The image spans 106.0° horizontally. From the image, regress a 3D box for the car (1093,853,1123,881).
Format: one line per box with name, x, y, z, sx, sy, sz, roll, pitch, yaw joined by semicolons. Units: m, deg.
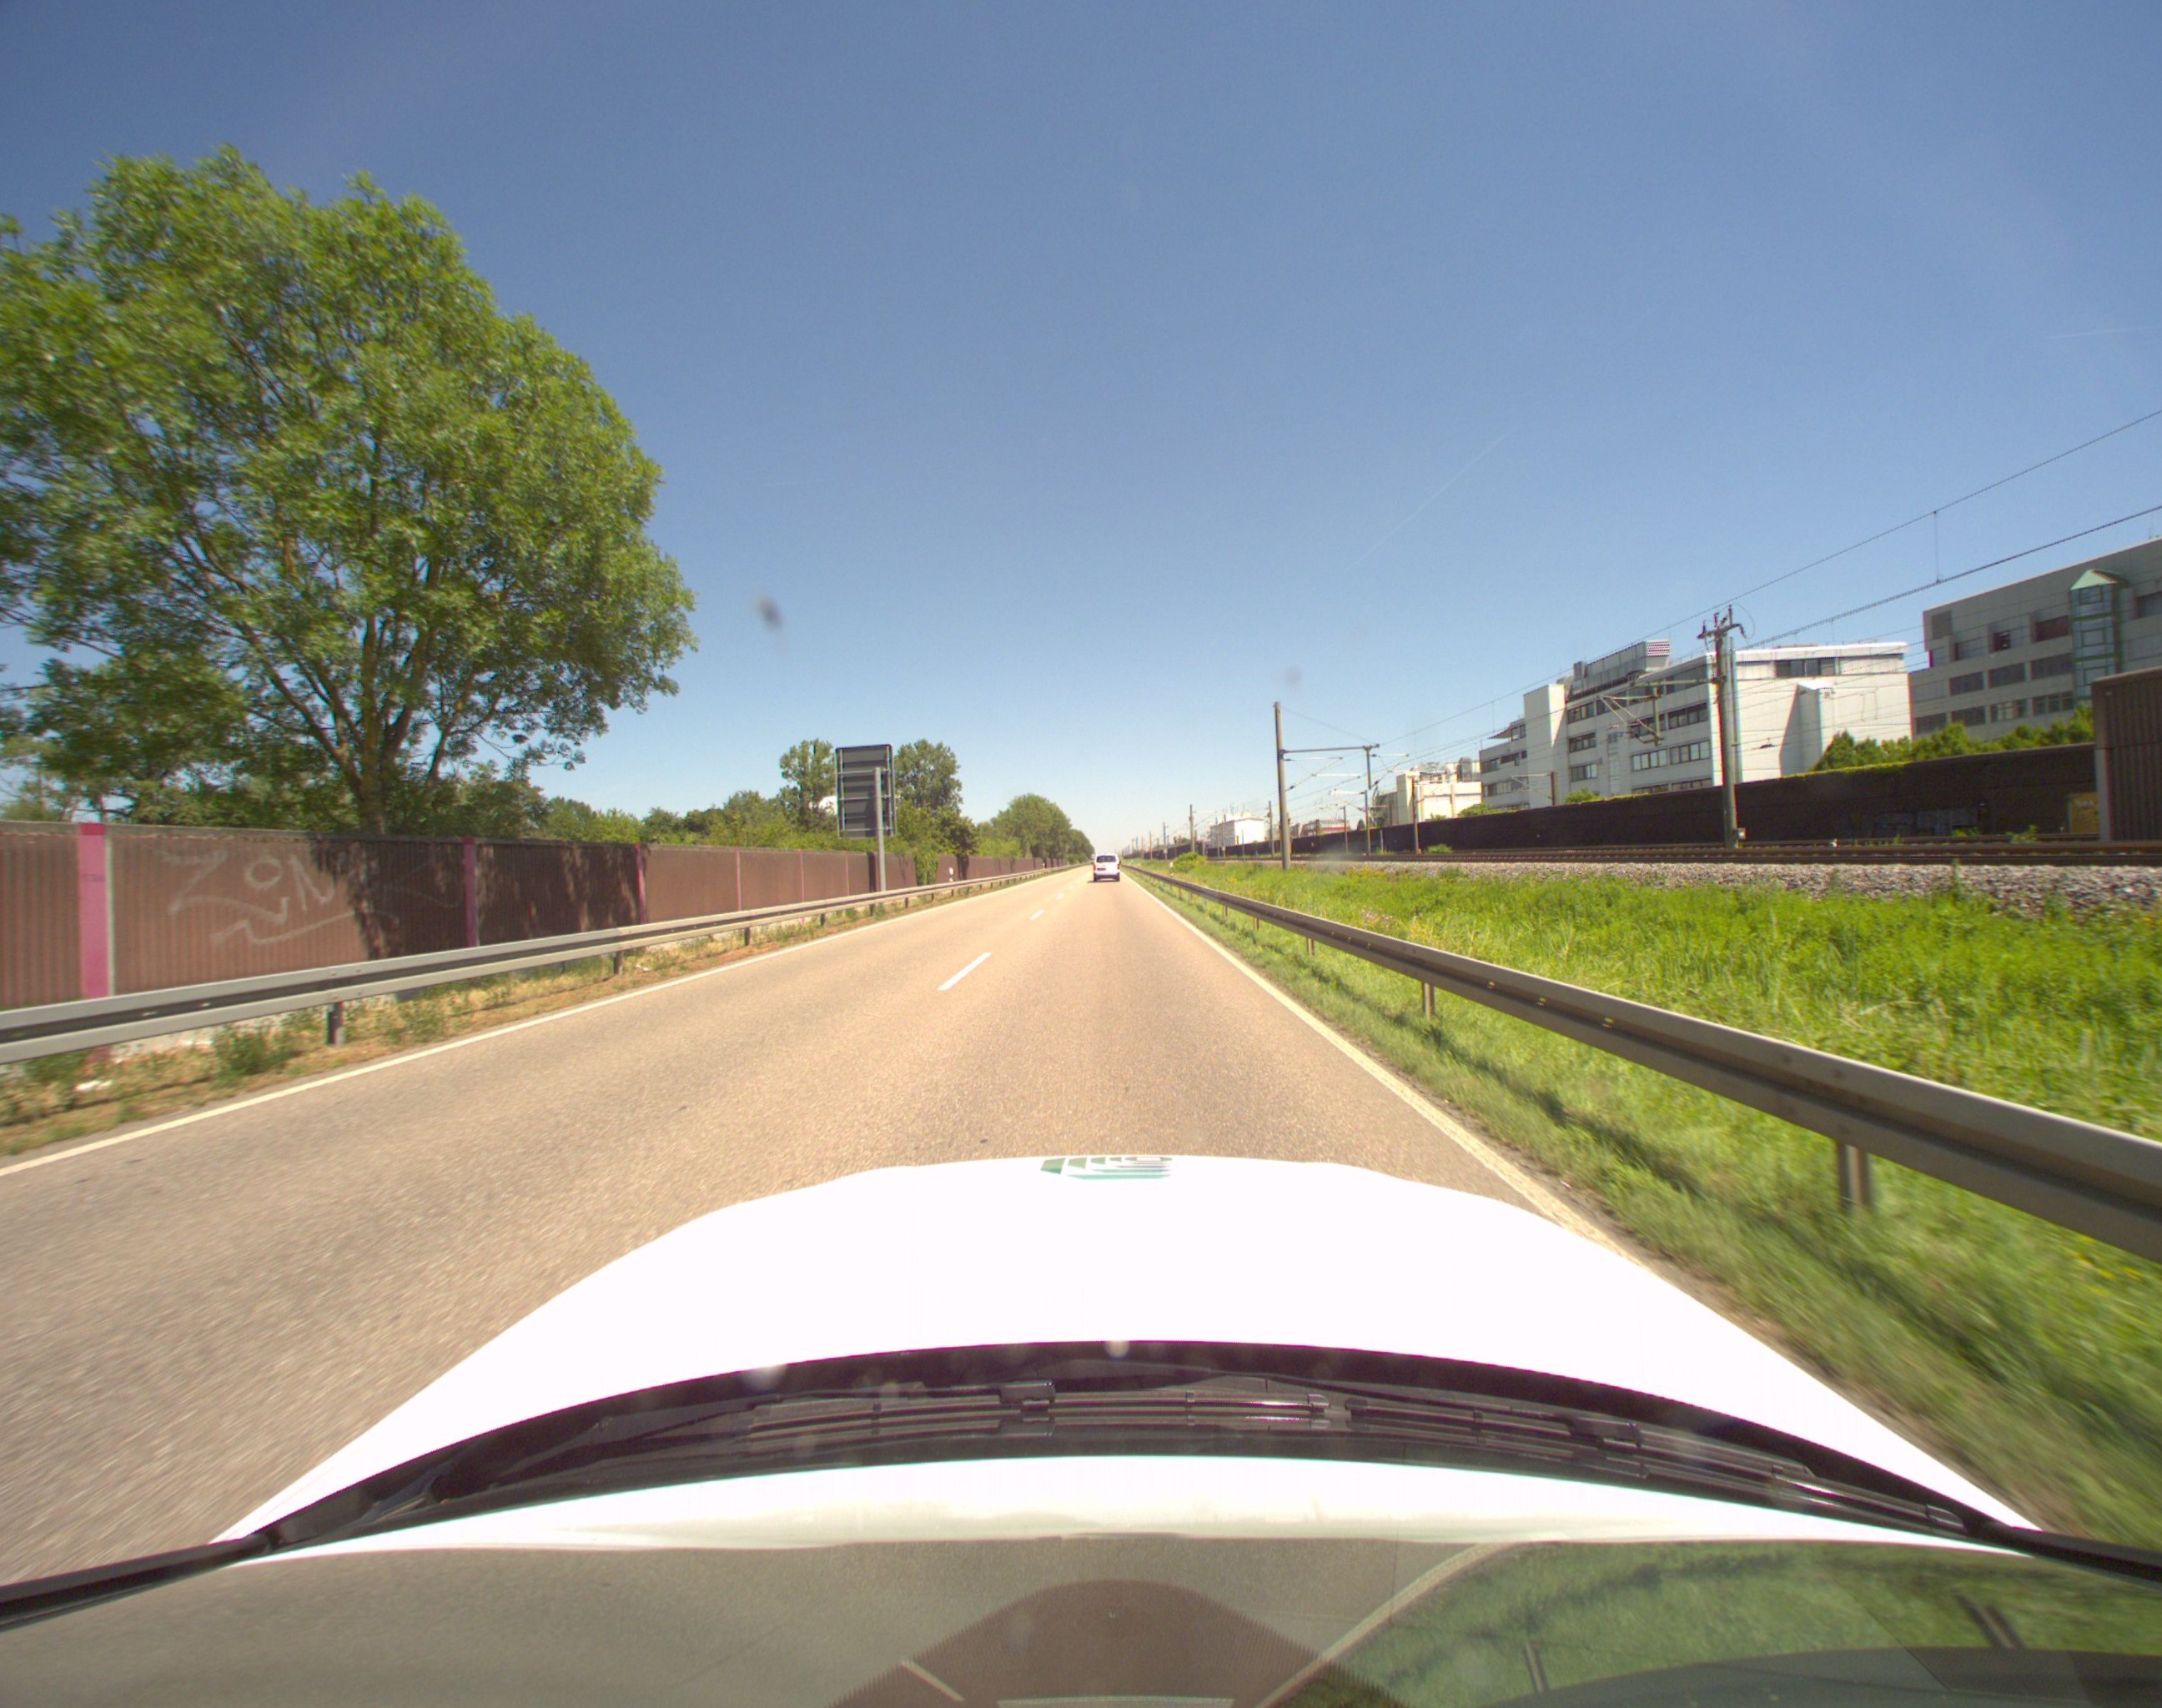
car;1.898;0.895;57.498;1.986;1.850;4.001;0;-1;2
